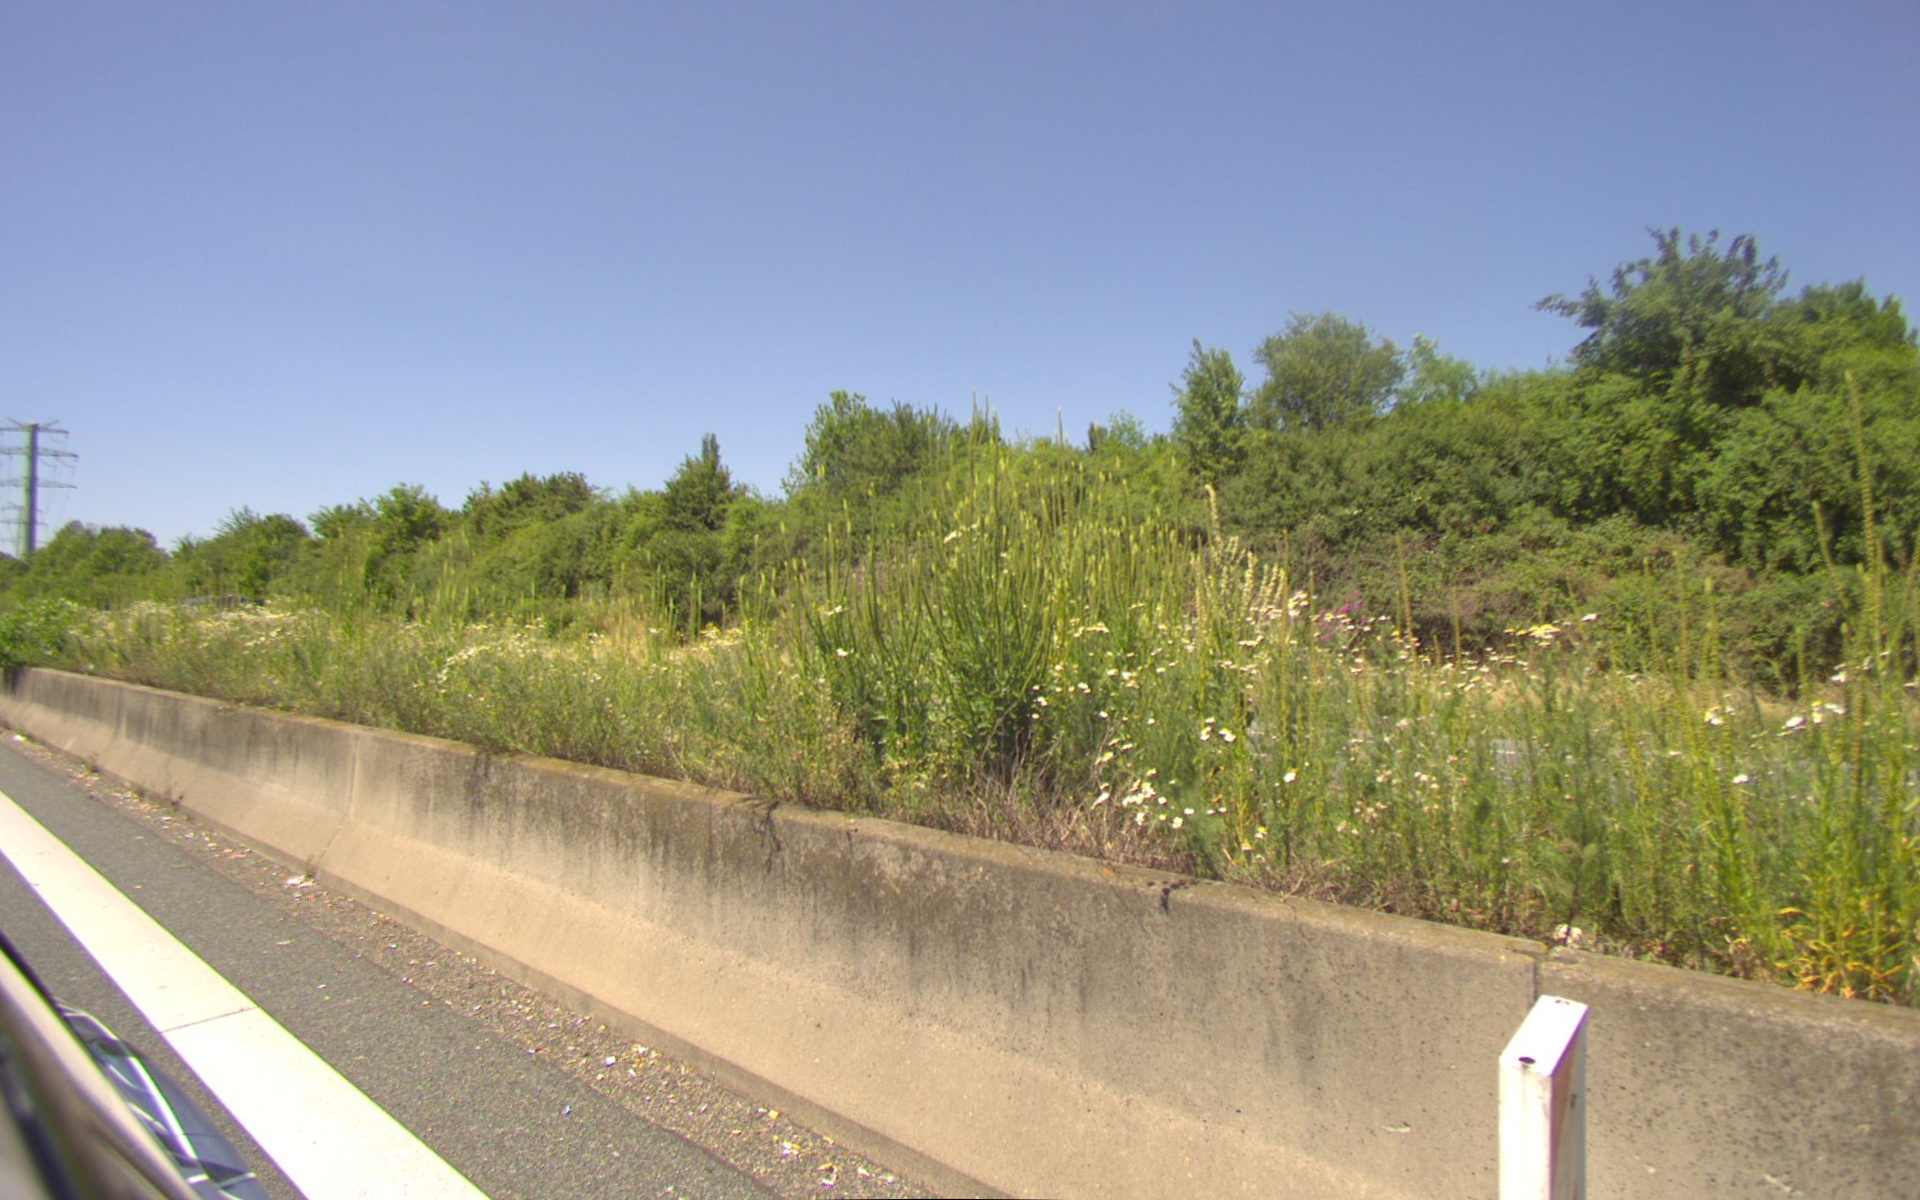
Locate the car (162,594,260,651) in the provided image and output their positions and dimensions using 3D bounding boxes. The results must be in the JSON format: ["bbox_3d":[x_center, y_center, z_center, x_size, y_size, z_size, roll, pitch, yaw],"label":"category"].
[{"bbox_3d":[-29.478,0.889,39.745,5.226,2.107,1.973,-1,-2,41],"label":"car"}]
